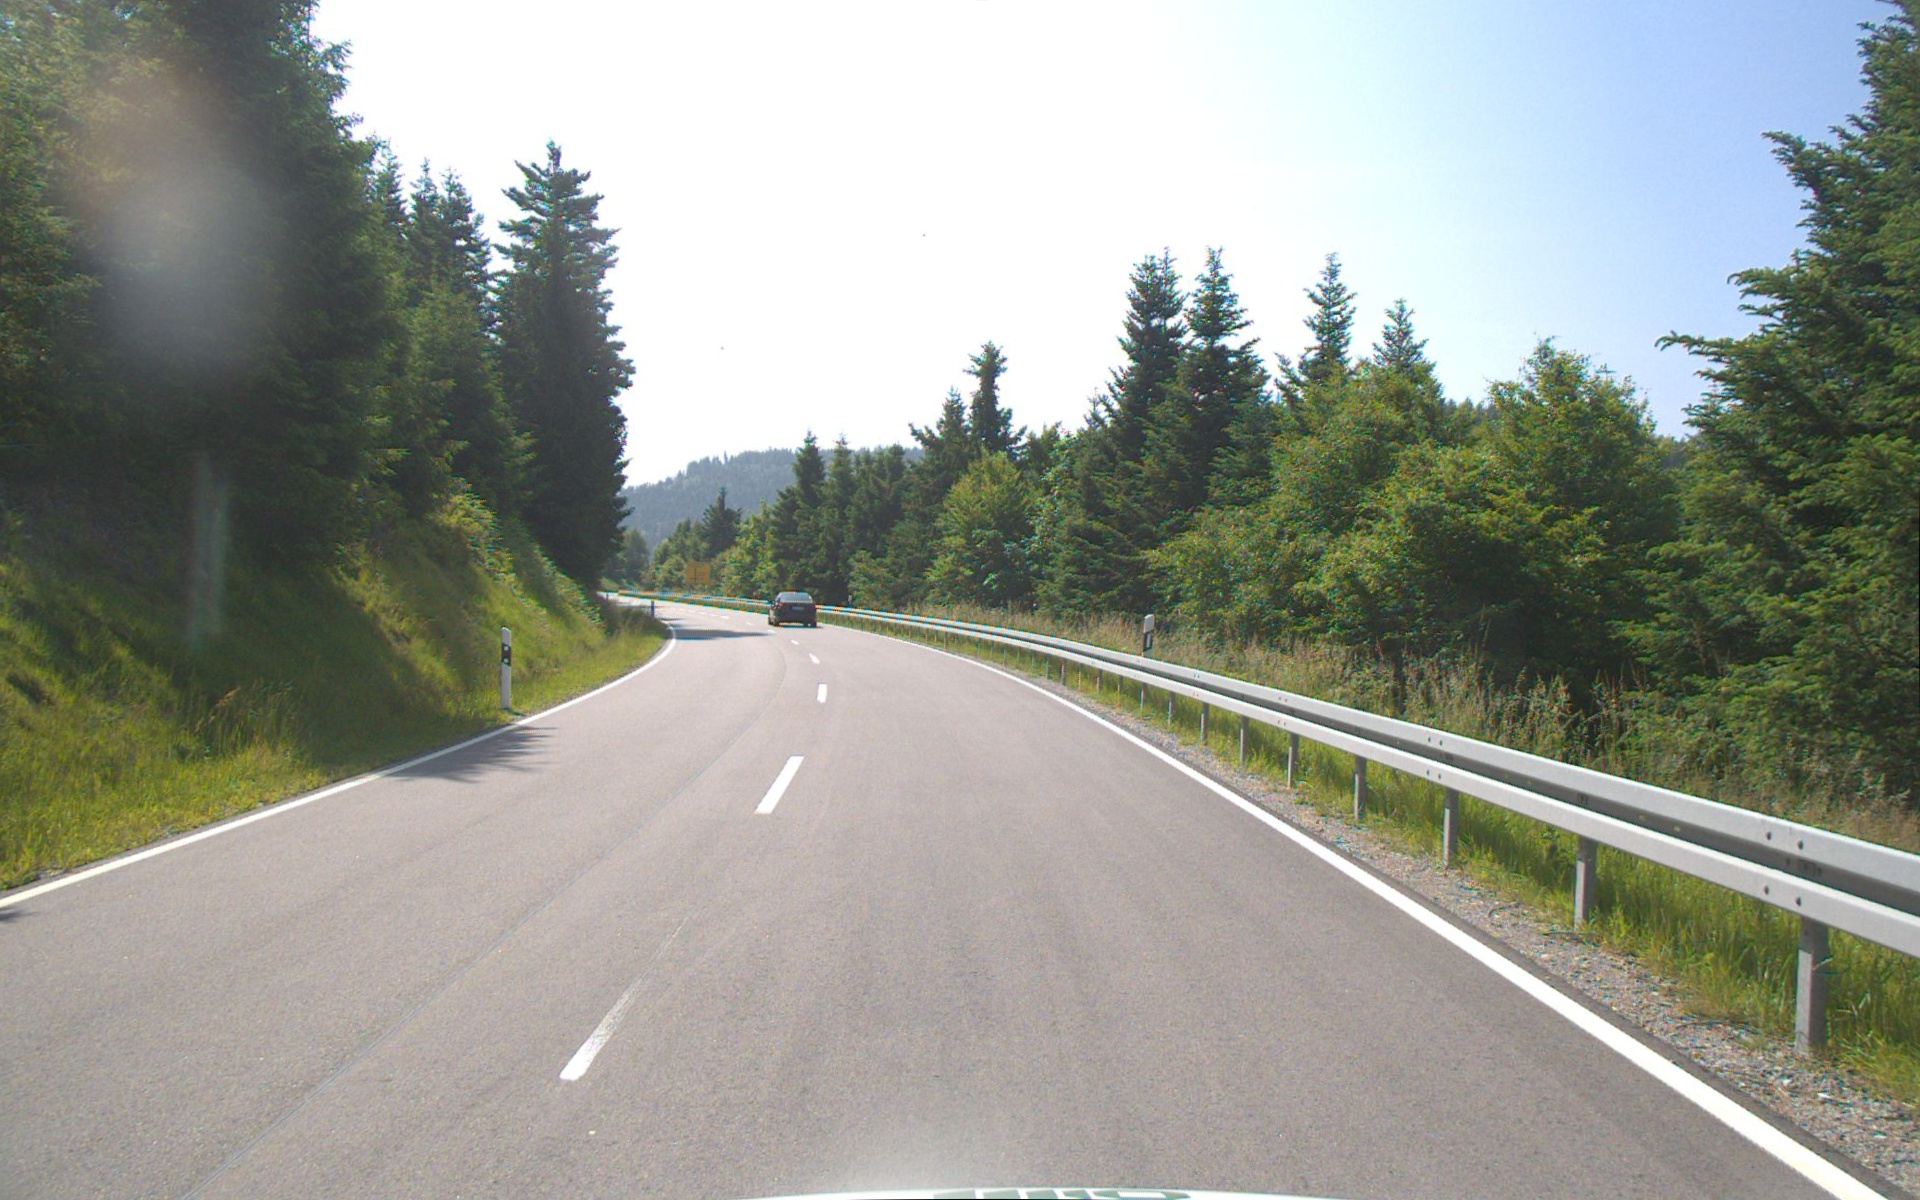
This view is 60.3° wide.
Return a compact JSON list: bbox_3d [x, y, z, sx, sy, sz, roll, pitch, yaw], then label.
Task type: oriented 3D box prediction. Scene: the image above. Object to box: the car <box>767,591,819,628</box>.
[{"bbox_3d":[-7.025,0.376,69.335,1.745,1.467,3.697,0,0,-13],"label":"car"}]
